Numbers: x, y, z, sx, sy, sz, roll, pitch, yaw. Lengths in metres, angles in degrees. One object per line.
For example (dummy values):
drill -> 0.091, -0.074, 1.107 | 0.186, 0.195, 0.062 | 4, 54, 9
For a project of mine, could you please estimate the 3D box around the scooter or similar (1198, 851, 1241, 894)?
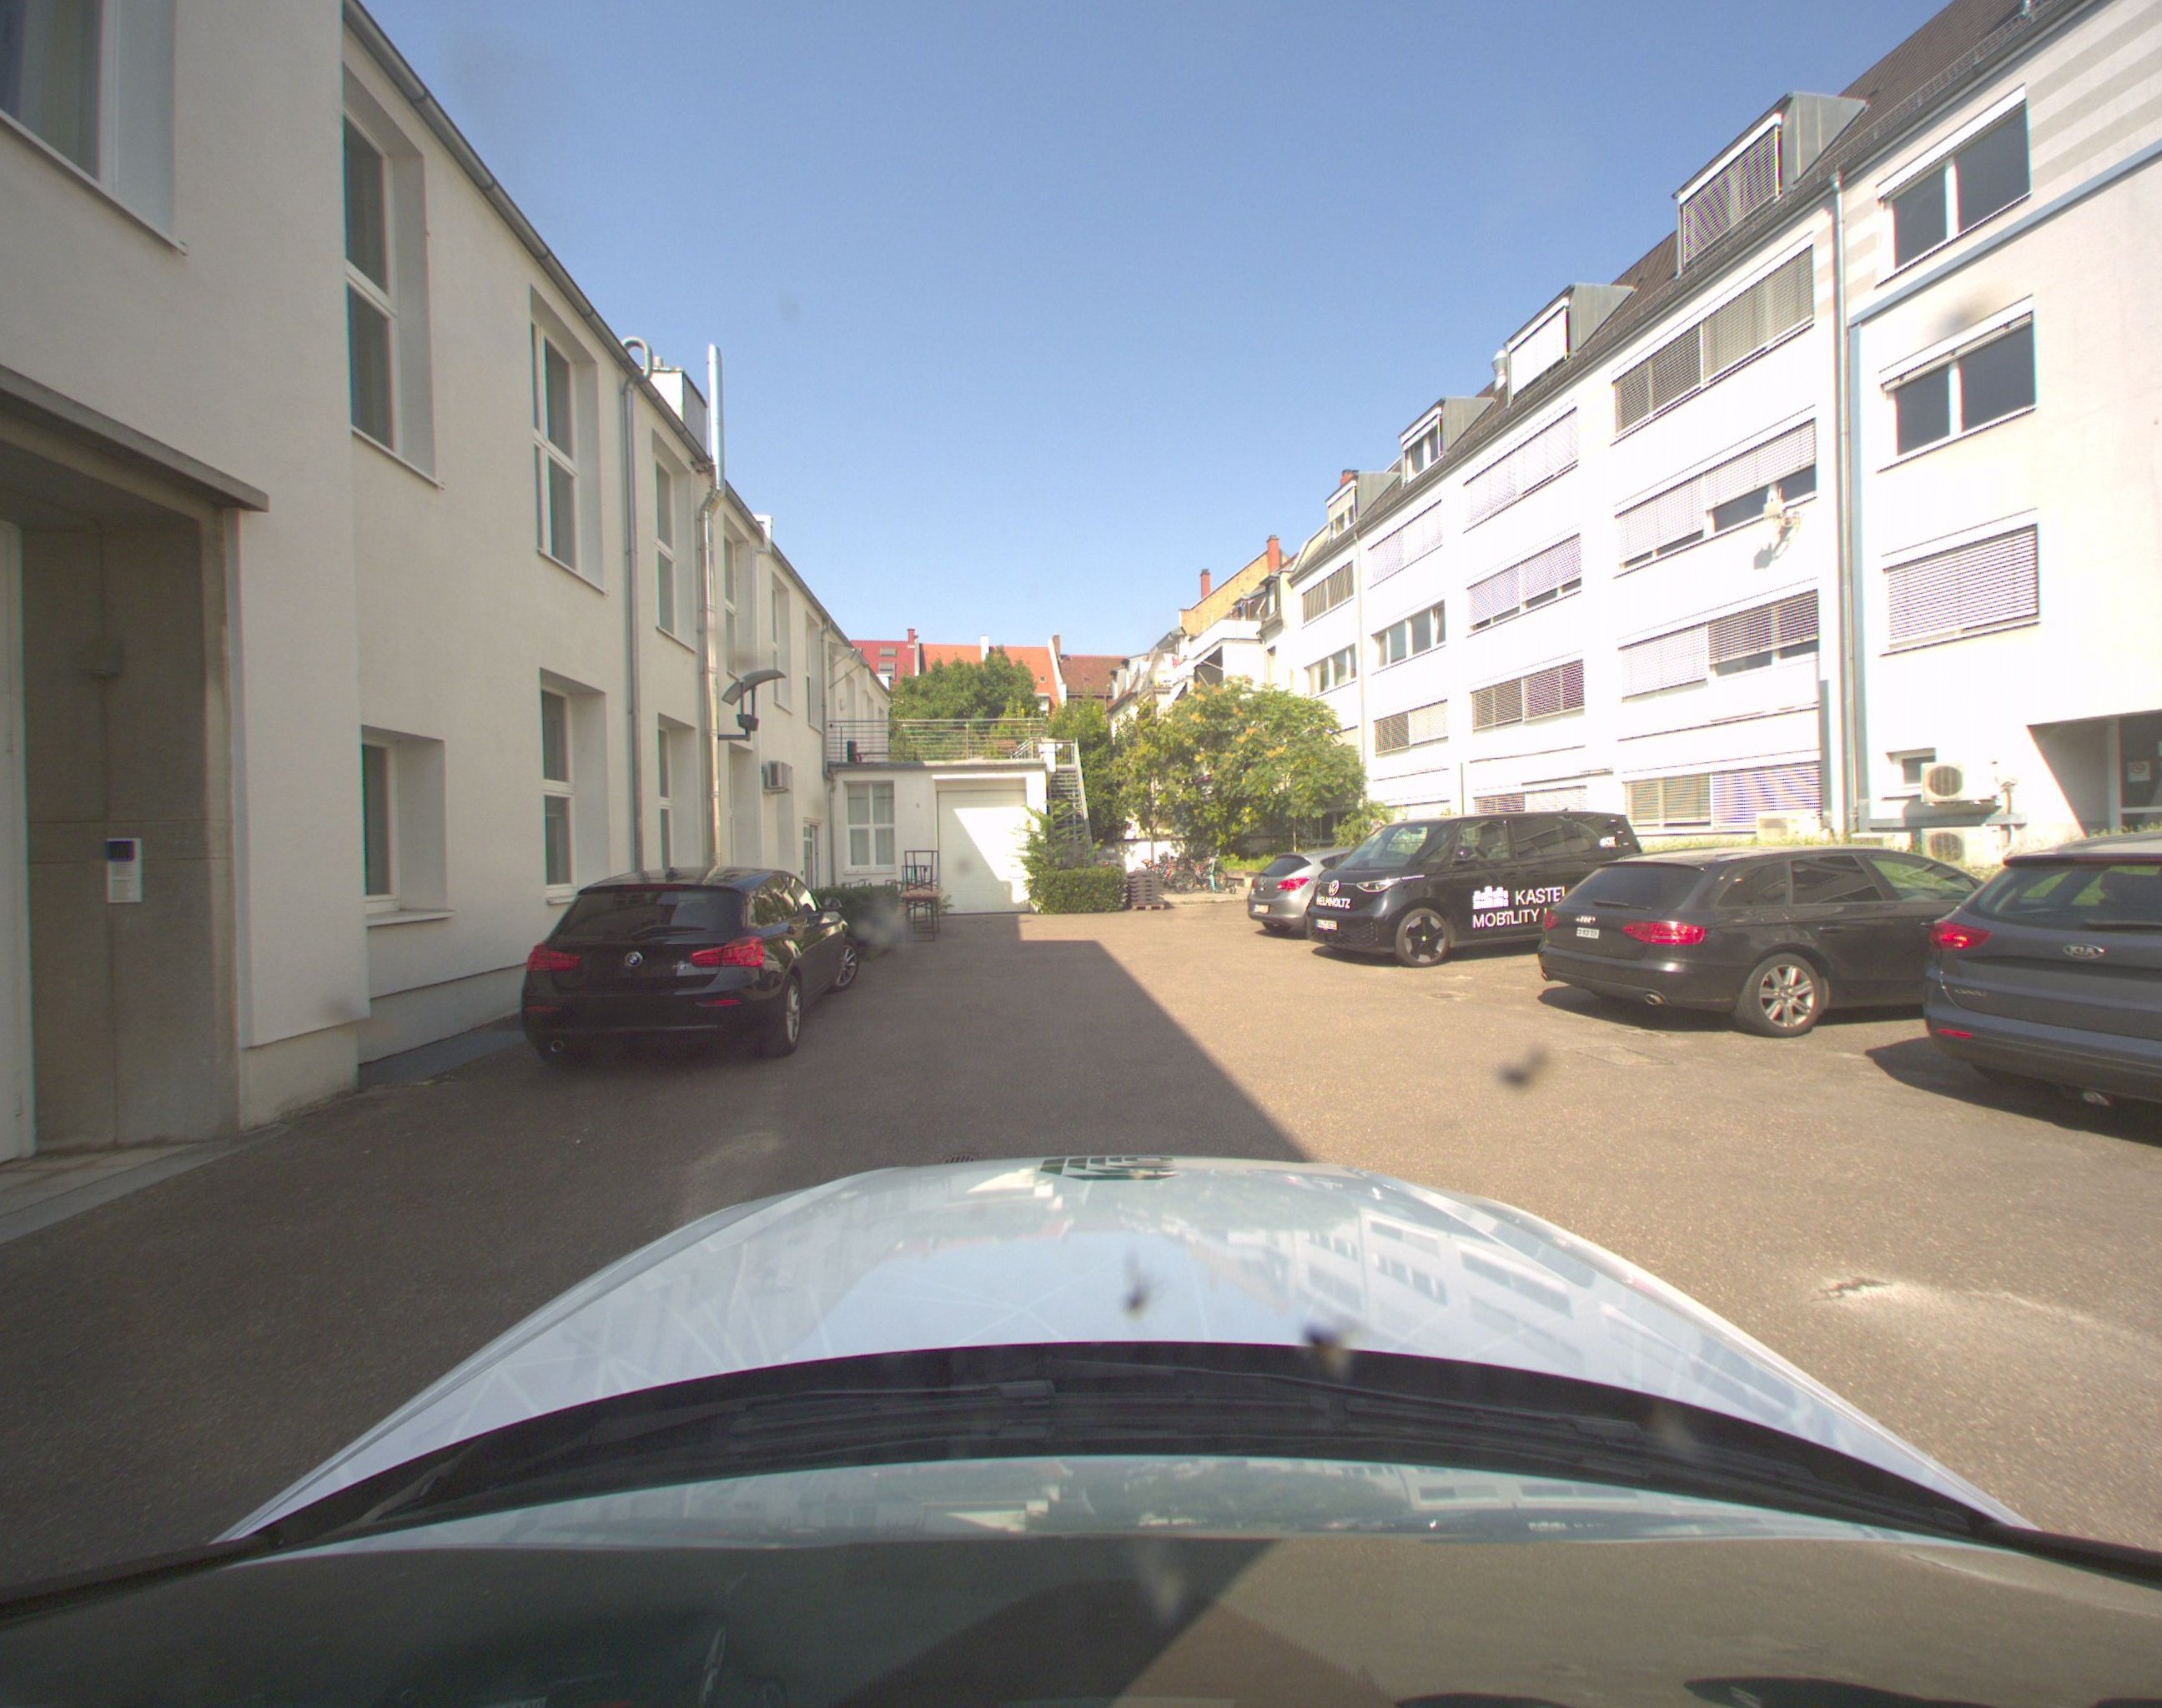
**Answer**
scooter or similar -> 4.146, 0.556, 24.465 | 0.381, 1.261, 1.334 | -2, 0, -37

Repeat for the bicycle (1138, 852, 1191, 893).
bicycle -> 2.679, 0.589, 26.005 | 1.614, 1.214, 0.327 | -2, 0, 7

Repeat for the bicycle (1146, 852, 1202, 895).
bicycle -> 2.802, 0.580, 24.582 | 1.620, 1.214, 0.326 | -2, 0, -4

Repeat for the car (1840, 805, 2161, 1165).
car -> 6.600, 0.543, 4.289 | 3.863, 1.589, 1.873 | -1, 0, -10

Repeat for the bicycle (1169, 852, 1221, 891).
bicycle -> 3.700, 0.569, 26.500 | 1.614, 1.214, 0.425 | -2, 0, 7

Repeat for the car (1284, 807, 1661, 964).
car -> 5.308, 0.356, 11.209 | 4.507, 1.794, 1.874 | -2, -1, -15

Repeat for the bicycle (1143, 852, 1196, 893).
bicycle -> 2.786, 0.585, 25.649 | 1.615, 1.214, 0.327 | -2, 0, 4

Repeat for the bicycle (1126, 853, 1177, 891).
bicycle -> 2.413, 0.603, 27.898 | 1.623, 1.214, 0.422 | -2, 0, -10

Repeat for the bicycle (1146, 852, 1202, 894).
bicycle -> 2.841, 0.580, 24.908 | 1.620, 1.214, 0.326 | -2, 0, -4

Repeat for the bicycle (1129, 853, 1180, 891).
bicycle -> 2.468, 0.600, 27.299 | 1.623, 1.214, 0.422 | -2, 0, -11

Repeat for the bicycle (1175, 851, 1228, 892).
bicycle -> 3.793, 0.563, 25.646 | 1.613, 1.214, 0.328 | -2, 0, 9

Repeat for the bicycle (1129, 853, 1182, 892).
bicycle -> 2.436, 0.598, 26.660 | 1.621, 1.214, 0.423 | -2, 0, -6

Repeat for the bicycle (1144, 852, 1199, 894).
bicycle -> 2.788, 0.583, 25.197 | 1.620, 1.214, 0.326 | -2, 0, -4

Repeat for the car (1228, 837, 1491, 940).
car -> 4.744, 0.541, 14.047 | 3.938, 1.482, 1.766 | -2, -1, -15

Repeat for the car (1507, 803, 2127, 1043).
car -> 6.174, 0.485, 7.077 | 4.114, 1.691, 1.766 | -1, 0, -8

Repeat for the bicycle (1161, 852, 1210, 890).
bicycle -> 3.612, 0.578, 28.098 | 1.614, 1.214, 0.425 | -2, 0, 7

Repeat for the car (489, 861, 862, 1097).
car -> -3.140, 0.814, 7.243 | 1.686, 1.459, 3.914 | -1, 0, -6

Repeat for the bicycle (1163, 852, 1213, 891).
bicycle -> 3.554, 0.575, 27.064 | 1.614, 1.214, 0.425 | -2, 0, 7
